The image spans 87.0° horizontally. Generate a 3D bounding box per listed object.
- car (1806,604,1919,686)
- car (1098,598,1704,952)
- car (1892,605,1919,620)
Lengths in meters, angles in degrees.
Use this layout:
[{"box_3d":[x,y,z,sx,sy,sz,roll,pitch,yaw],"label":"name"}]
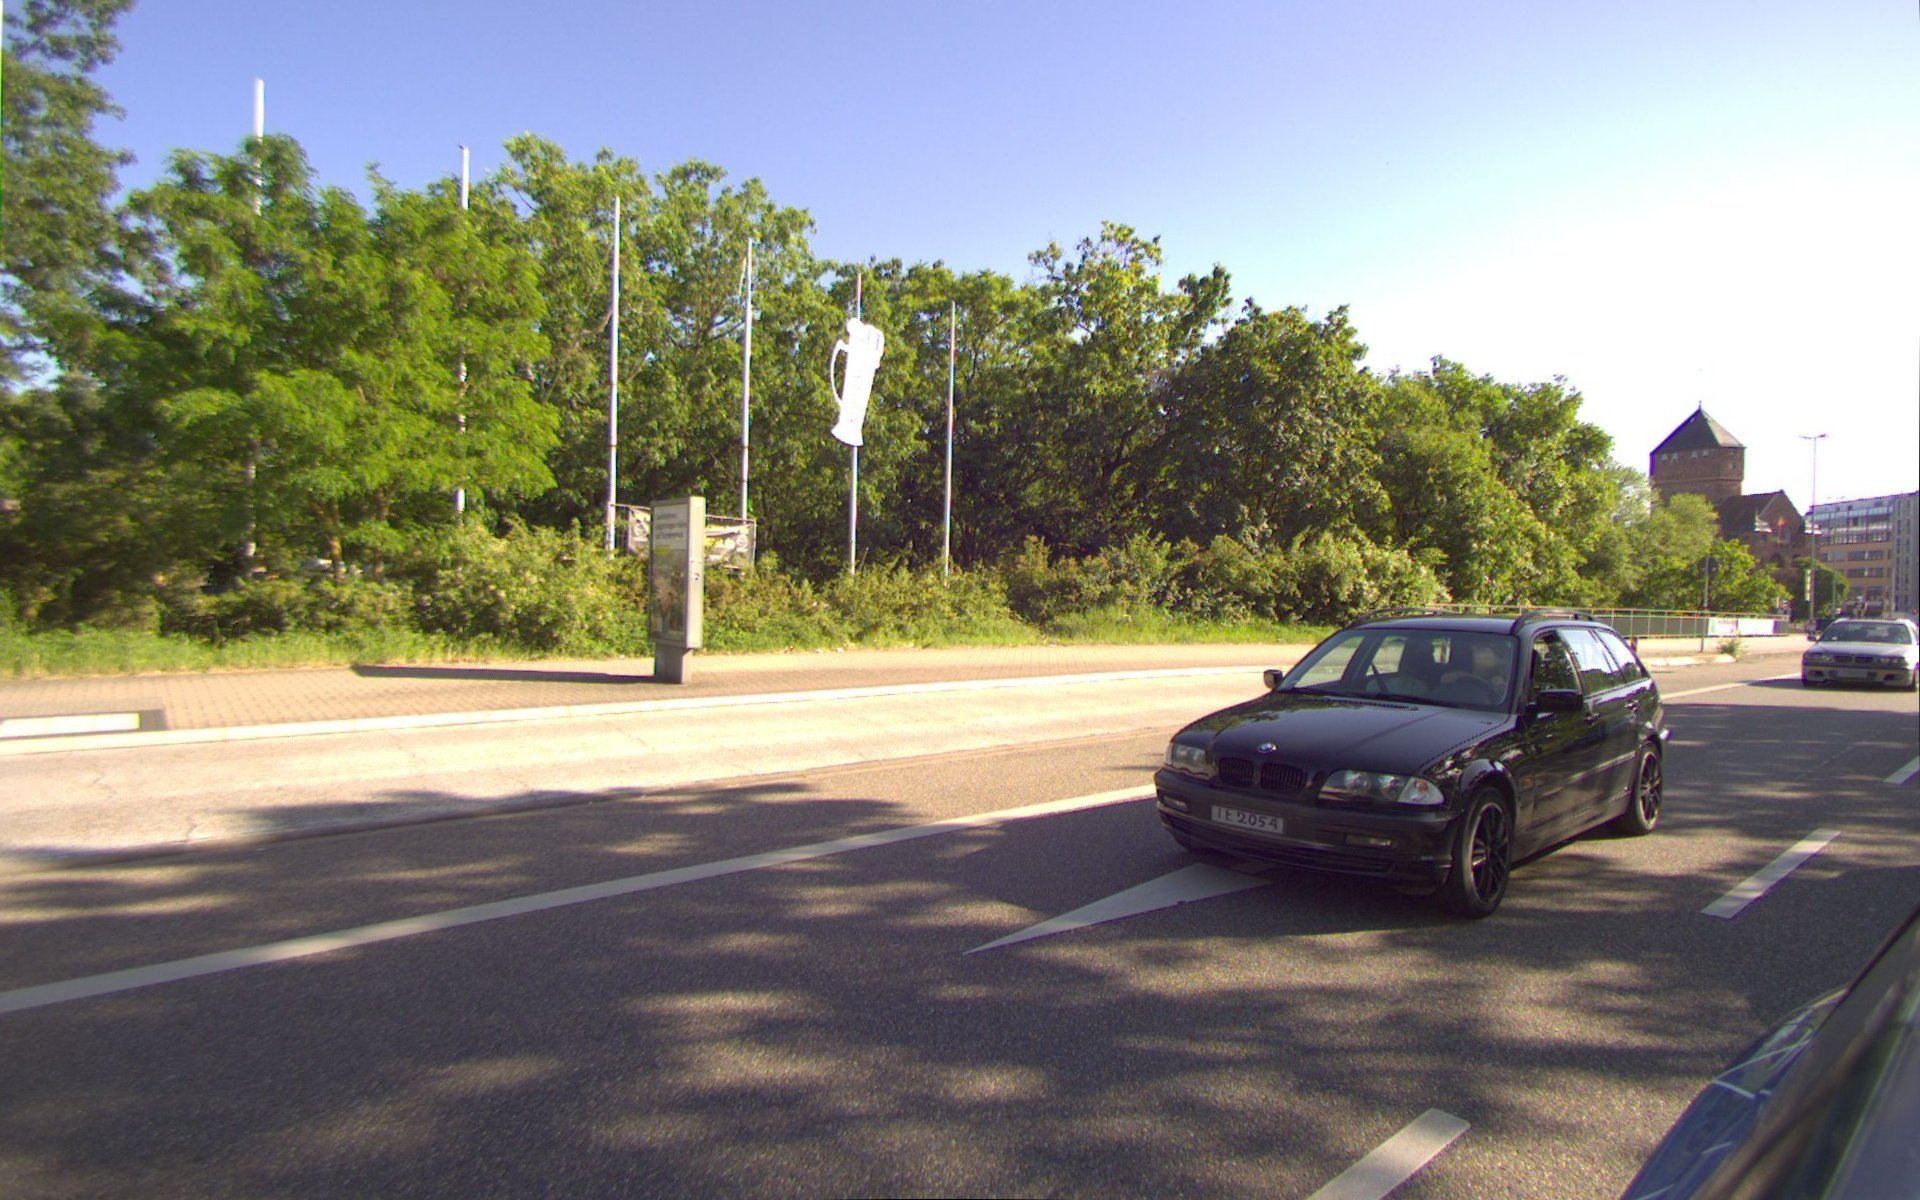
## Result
[{"box_3d":[18.571,0.863,20.335,3.929,1.438,1.784,1,0,-41],"label":"car"},{"box_3d":[2.939,0.730,6.257,4.242,1.420,1.775,0,1,-41],"label":"car"},{"box_3d":[134.418,1.743,142.549,2.140,2.038,5.395,1,1,12],"label":"car"}]
